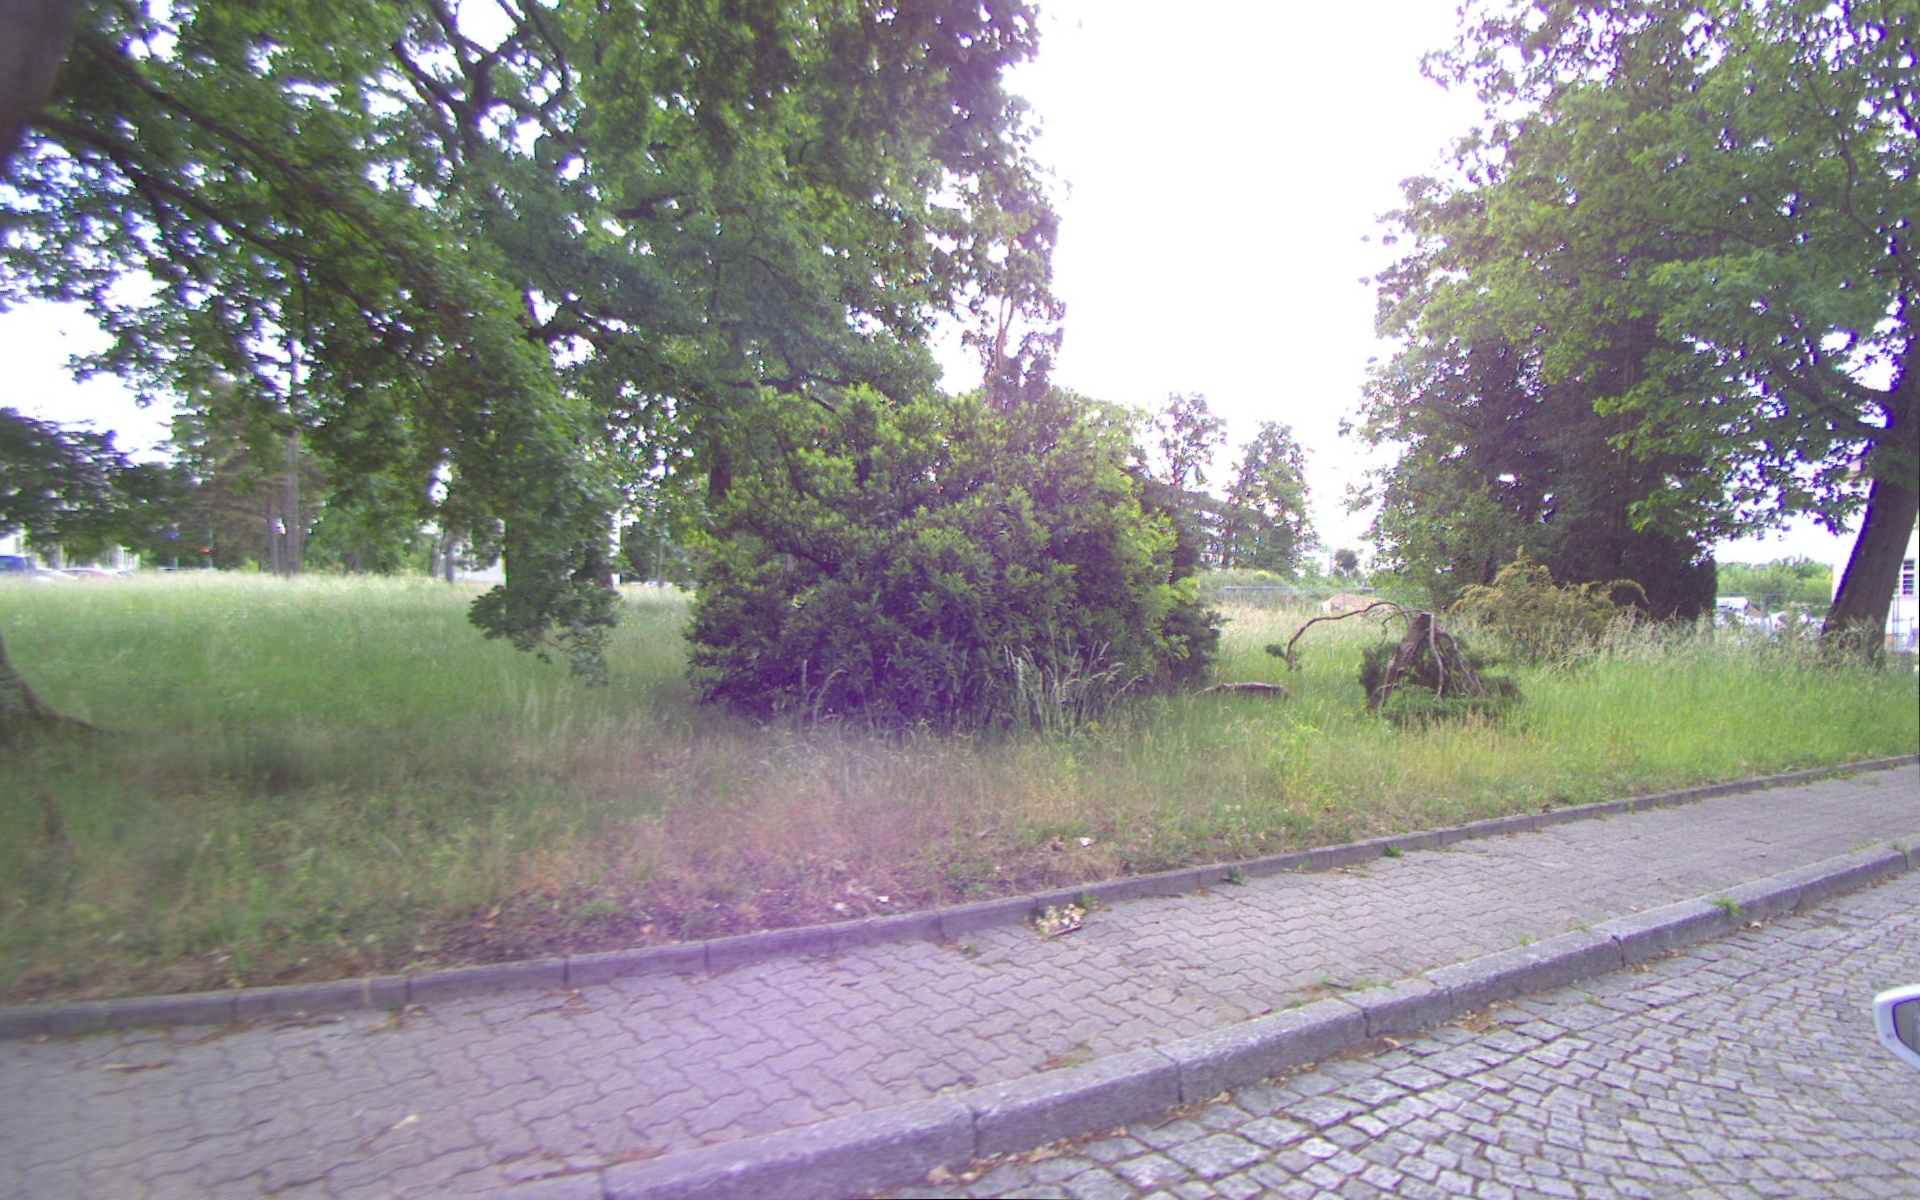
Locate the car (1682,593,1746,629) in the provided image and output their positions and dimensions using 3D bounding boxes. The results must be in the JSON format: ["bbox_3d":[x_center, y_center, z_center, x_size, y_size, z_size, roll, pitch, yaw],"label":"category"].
[{"bbox_3d":[48.719,0.698,64.885,4.855,2.179,2.051,1,1,-38],"label":"car"}]
